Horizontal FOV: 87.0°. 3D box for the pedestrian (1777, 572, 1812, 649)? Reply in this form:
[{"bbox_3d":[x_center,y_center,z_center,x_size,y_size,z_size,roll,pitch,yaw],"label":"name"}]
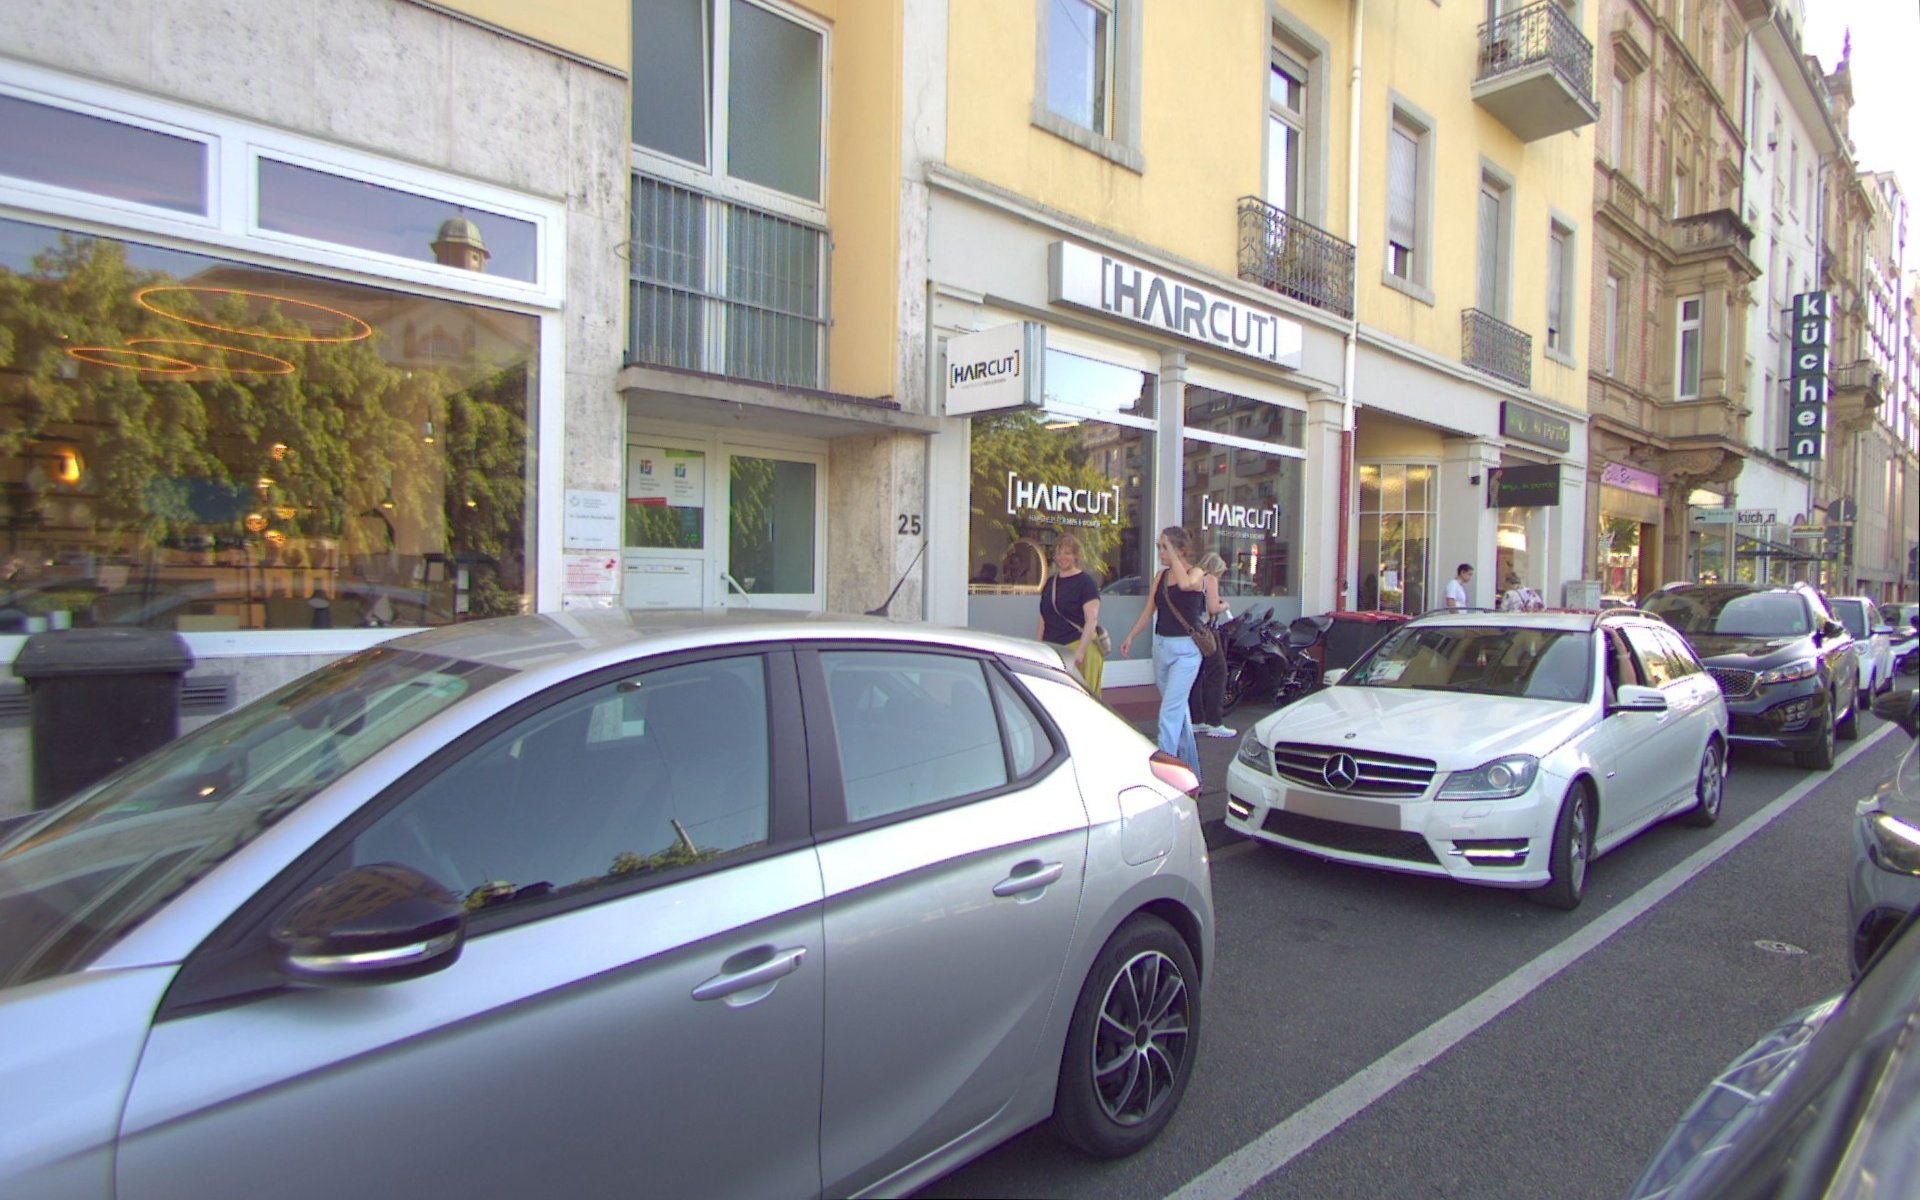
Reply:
[{"bbox_3d":[20.804,0.249,25.231,0.653,1.874,0.574,0,0,-40],"label":"pedestrian"}]

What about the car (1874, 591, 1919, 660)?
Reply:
[{"bbox_3d":[22.216,0.536,23.071,4.016,1.450,1.657,-1,0,-42],"label":"car"}]

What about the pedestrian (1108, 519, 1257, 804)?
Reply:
[{"bbox_3d":[1.408,0.357,6.432,0.635,1.686,0.659,0,0,-36],"label":"pedestrian"}]

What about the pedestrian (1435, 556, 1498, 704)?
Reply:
[{"bbox_3d":[7.021,0.408,14.032,0.679,2.008,0.375,1,1,-18],"label":"pedestrian"}]

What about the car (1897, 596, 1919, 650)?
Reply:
[{"bbox_3d":[26.350,0.581,26.911,3.773,1.357,1.800,-1,1,-42],"label":"car"}]

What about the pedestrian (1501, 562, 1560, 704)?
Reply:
[{"bbox_3d":[7.704,0.429,13.692,0.567,1.874,0.661,0,0,19],"label":"pedestrian"}]

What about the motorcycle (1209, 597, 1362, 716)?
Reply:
[{"bbox_3d":[3.433,0.541,10.582,1.920,1.091,0.567,-1,4,-41],"label":"motorcycle"}]

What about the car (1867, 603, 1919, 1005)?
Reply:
[{"bbox_3d":[5.304,0.701,4.214,3.930,1.376,1.801,-1,1,-41],"label":"car"}]

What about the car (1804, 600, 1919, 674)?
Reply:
[{"bbox_3d":[18.147,0.658,19.944,4.016,1.282,1.800,-1,1,-42],"label":"car"}]

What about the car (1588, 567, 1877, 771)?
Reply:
[{"bbox_3d":[8.025,0.538,10.360,4.176,1.659,1.799,-1,1,-45],"label":"car"}]

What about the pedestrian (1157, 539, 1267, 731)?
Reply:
[{"bbox_3d":[2.313,0.286,9.316,0.595,1.674,0.719,0,3,-40],"label":"pedestrian"}]

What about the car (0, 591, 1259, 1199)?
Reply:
[{"bbox_3d":[-0.984,0.714,2.272,3.597,1.445,1.549,-1,1,-42],"label":"car"}]

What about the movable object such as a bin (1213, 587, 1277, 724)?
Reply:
[{"bbox_3d":[2.714,0.512,9.629,0.387,1.253,0.391,0,3,-41],"label":"movable object such as a bin"}]

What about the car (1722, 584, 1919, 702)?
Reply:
[{"bbox_3d":[13.116,0.538,15.340,4.016,1.546,1.800,-1,0,-42],"label":"car"}]

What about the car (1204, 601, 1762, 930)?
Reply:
[{"bbox_3d":[3.546,0.719,6.460,4.302,1.376,1.703,-1,1,-41],"label":"car"}]

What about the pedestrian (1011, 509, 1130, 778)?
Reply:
[{"bbox_3d":[0.792,0.284,7.171,0.733,1.806,0.565,1,0,18],"label":"pedestrian"}]
